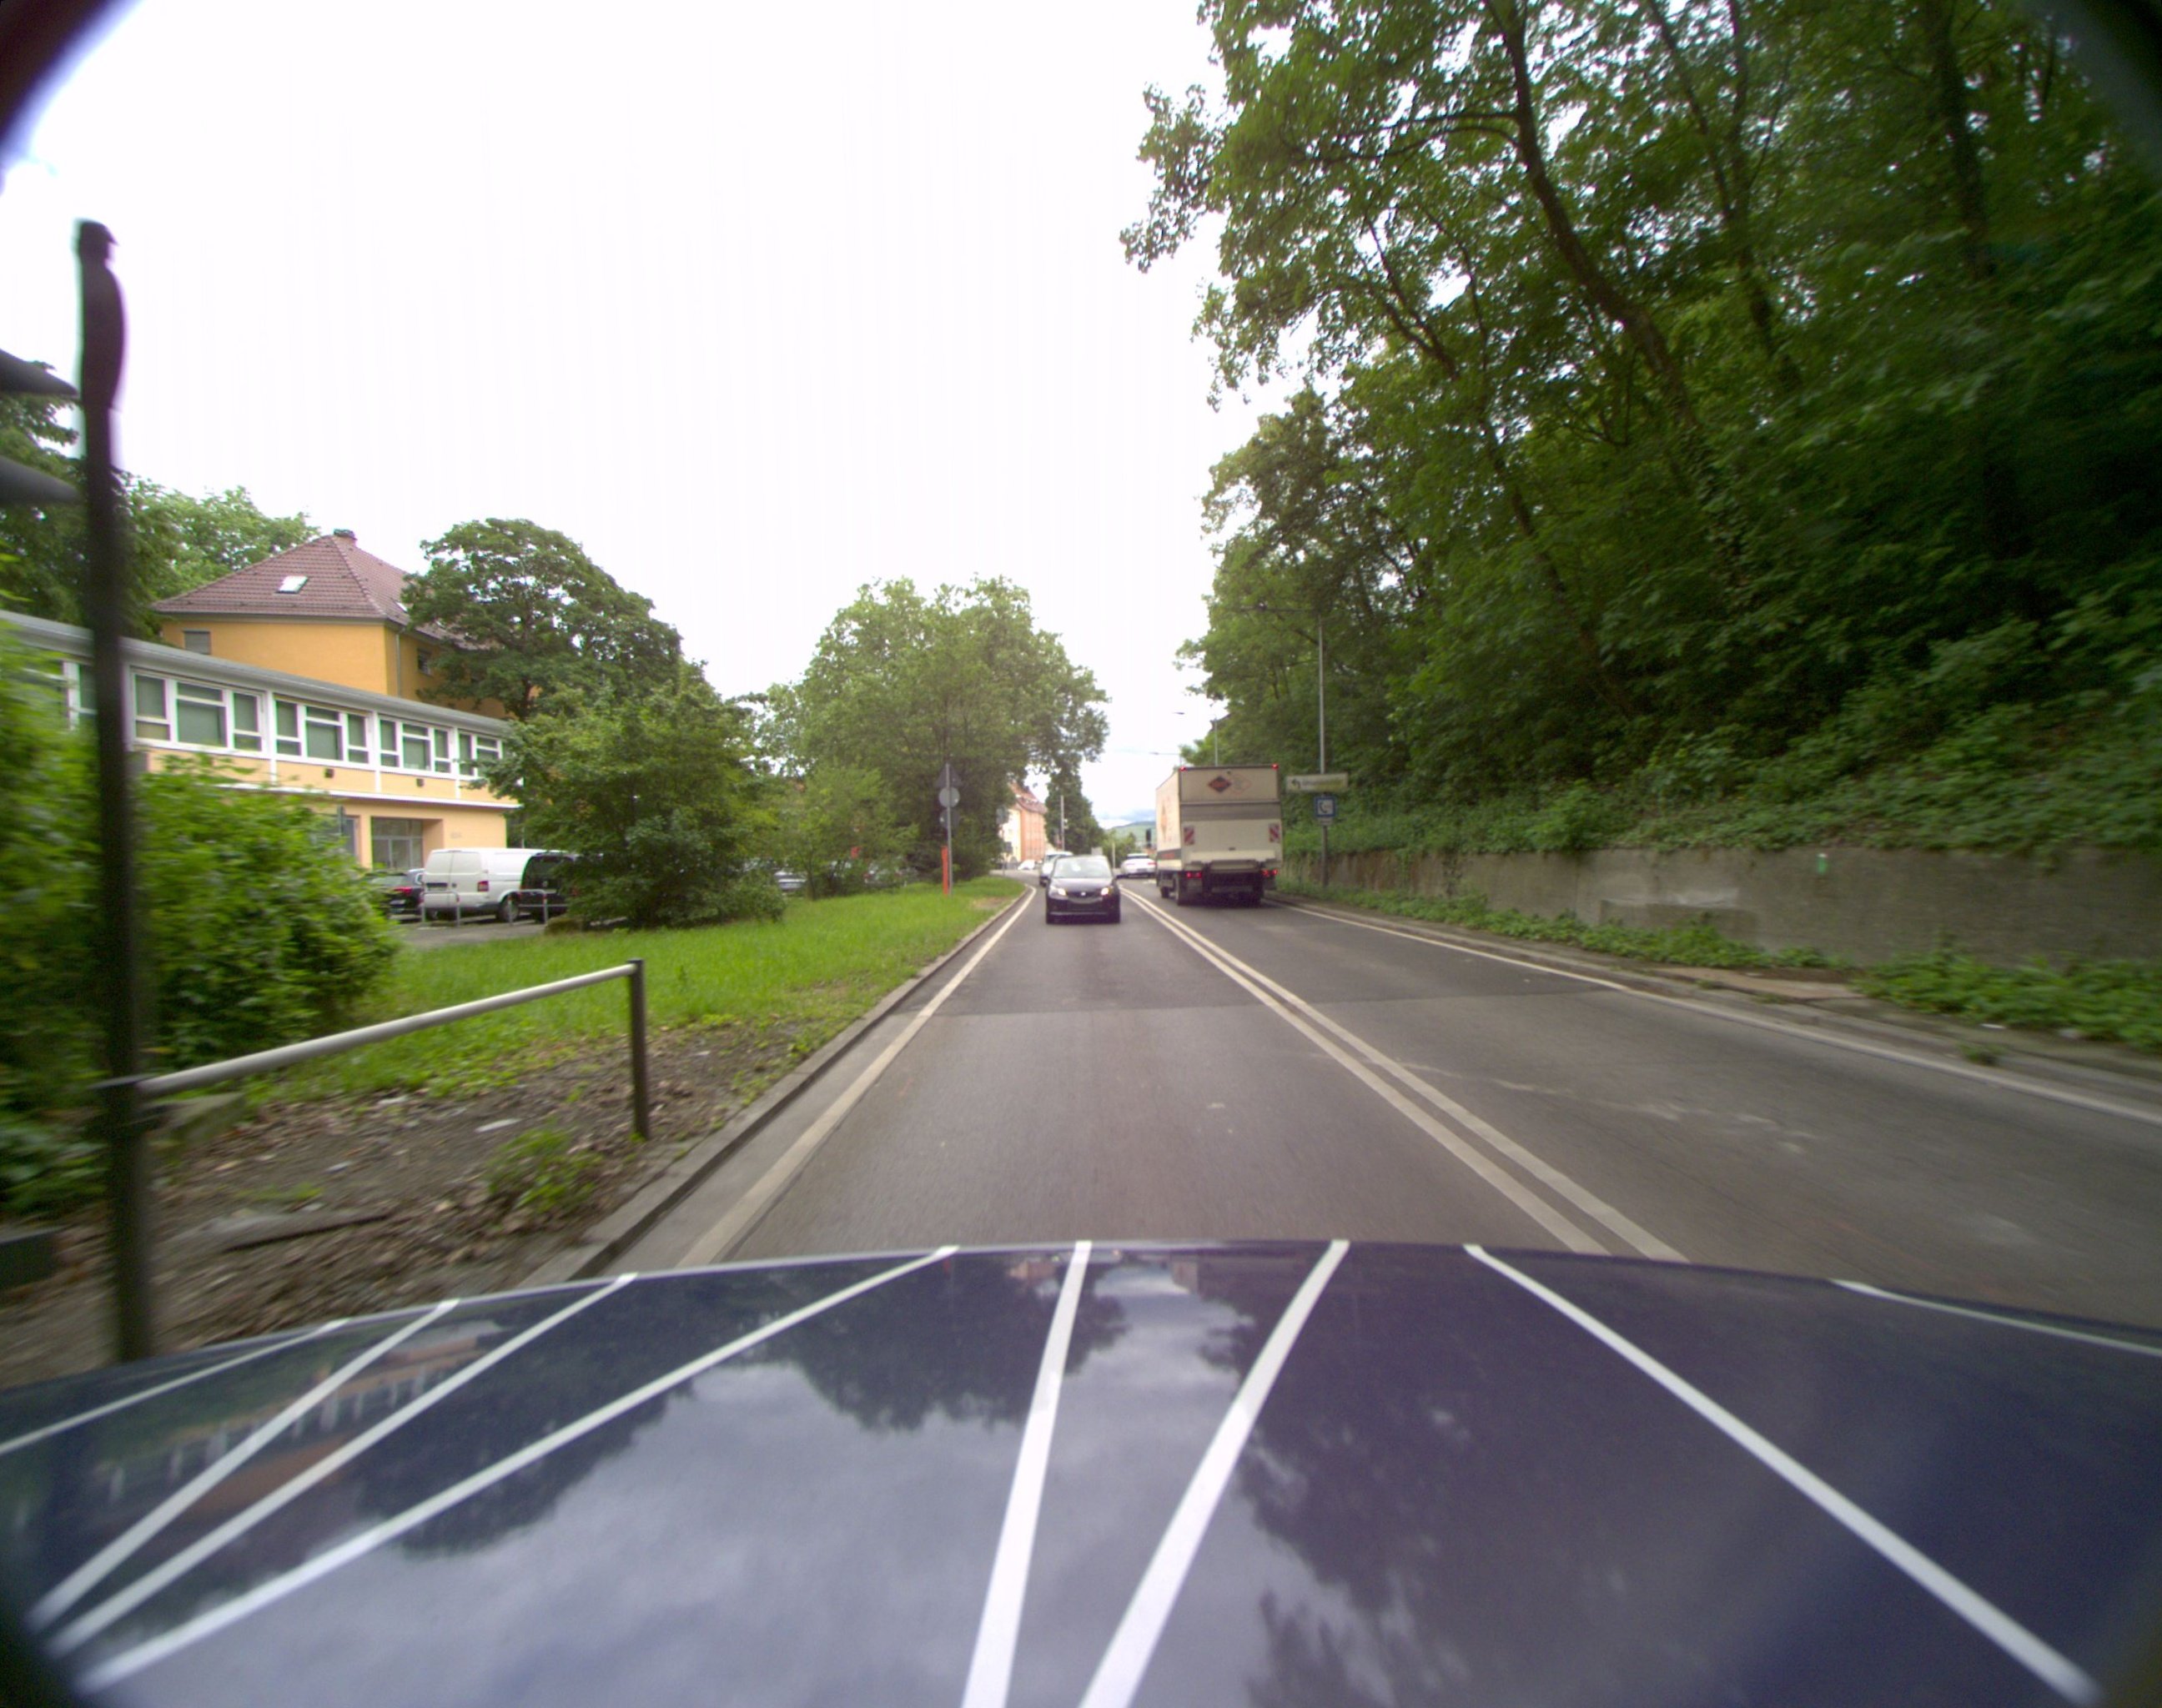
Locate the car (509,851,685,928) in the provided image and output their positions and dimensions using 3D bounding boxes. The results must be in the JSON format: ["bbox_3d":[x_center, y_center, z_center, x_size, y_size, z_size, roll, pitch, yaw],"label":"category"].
[{"bbox_3d":[-13.432,0.888,21.532,1.861,1.868,4.884,-1,1,-1],"label":"car"}]

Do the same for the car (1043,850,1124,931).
[{"bbox_3d":[0.049,0.747,17.672,1.604,1.449,3.682,-4,2,0],"label":"car"}]

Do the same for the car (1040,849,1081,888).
[{"bbox_3d":[-1.054,0.641,36.922,1.780,1.599,4.161,-3,2,-3],"label":"car"}]

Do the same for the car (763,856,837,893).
[{"bbox_3d":[-11.977,0.846,32.670,1.748,1.434,3.897,0,1,-1],"label":"car"}]

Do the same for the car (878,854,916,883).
[{"bbox_3d":[-11.637,0.852,47.924,1.816,1.655,4.875,1,1,-20],"label":"car"}]

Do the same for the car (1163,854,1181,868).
[{"bbox_3d":[10.515,0.792,88.234,1.998,1.465,4.161,-1,-2,5],"label":"car"}]

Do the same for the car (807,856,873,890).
[{"bbox_3d":[-11.819,0.889,37.586,1.789,1.549,4.594,0,0,-1],"label":"car"}]

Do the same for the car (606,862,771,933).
[{"bbox_3d":[-10.931,1.128,21.649,1.812,1.656,4.886,1,1,5],"label":"car"}]

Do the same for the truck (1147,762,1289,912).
[{"bbox_3d":[3.718,-0.457,22.524,2.682,3.645,7.516,-2,1,-1],"label":"truck"}]

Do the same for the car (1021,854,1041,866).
[{"bbox_3d":[-6.105,0.738,93.901,1.814,1.433,3.901,-1,-2,6],"label":"car"}]

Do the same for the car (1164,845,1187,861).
[{"bbox_3d":[9.133,-0.089,73.600,1.998,1.392,4.521,-1,-2,5],"label":"car"}]

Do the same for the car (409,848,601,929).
[{"bbox_3d":[-15.951,0.858,21.422,1.861,2.003,4.562,-1,1,1],"label":"car"}]

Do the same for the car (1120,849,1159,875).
[{"bbox_3d":[3.352,0.414,44.118,1.873,1.363,4.454,-1,1,0],"label":"car"}]

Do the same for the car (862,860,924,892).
[{"bbox_3d":[-9.073,1.033,37.116,1.789,1.433,5.062,0,0,-1],"label":"car"}]
